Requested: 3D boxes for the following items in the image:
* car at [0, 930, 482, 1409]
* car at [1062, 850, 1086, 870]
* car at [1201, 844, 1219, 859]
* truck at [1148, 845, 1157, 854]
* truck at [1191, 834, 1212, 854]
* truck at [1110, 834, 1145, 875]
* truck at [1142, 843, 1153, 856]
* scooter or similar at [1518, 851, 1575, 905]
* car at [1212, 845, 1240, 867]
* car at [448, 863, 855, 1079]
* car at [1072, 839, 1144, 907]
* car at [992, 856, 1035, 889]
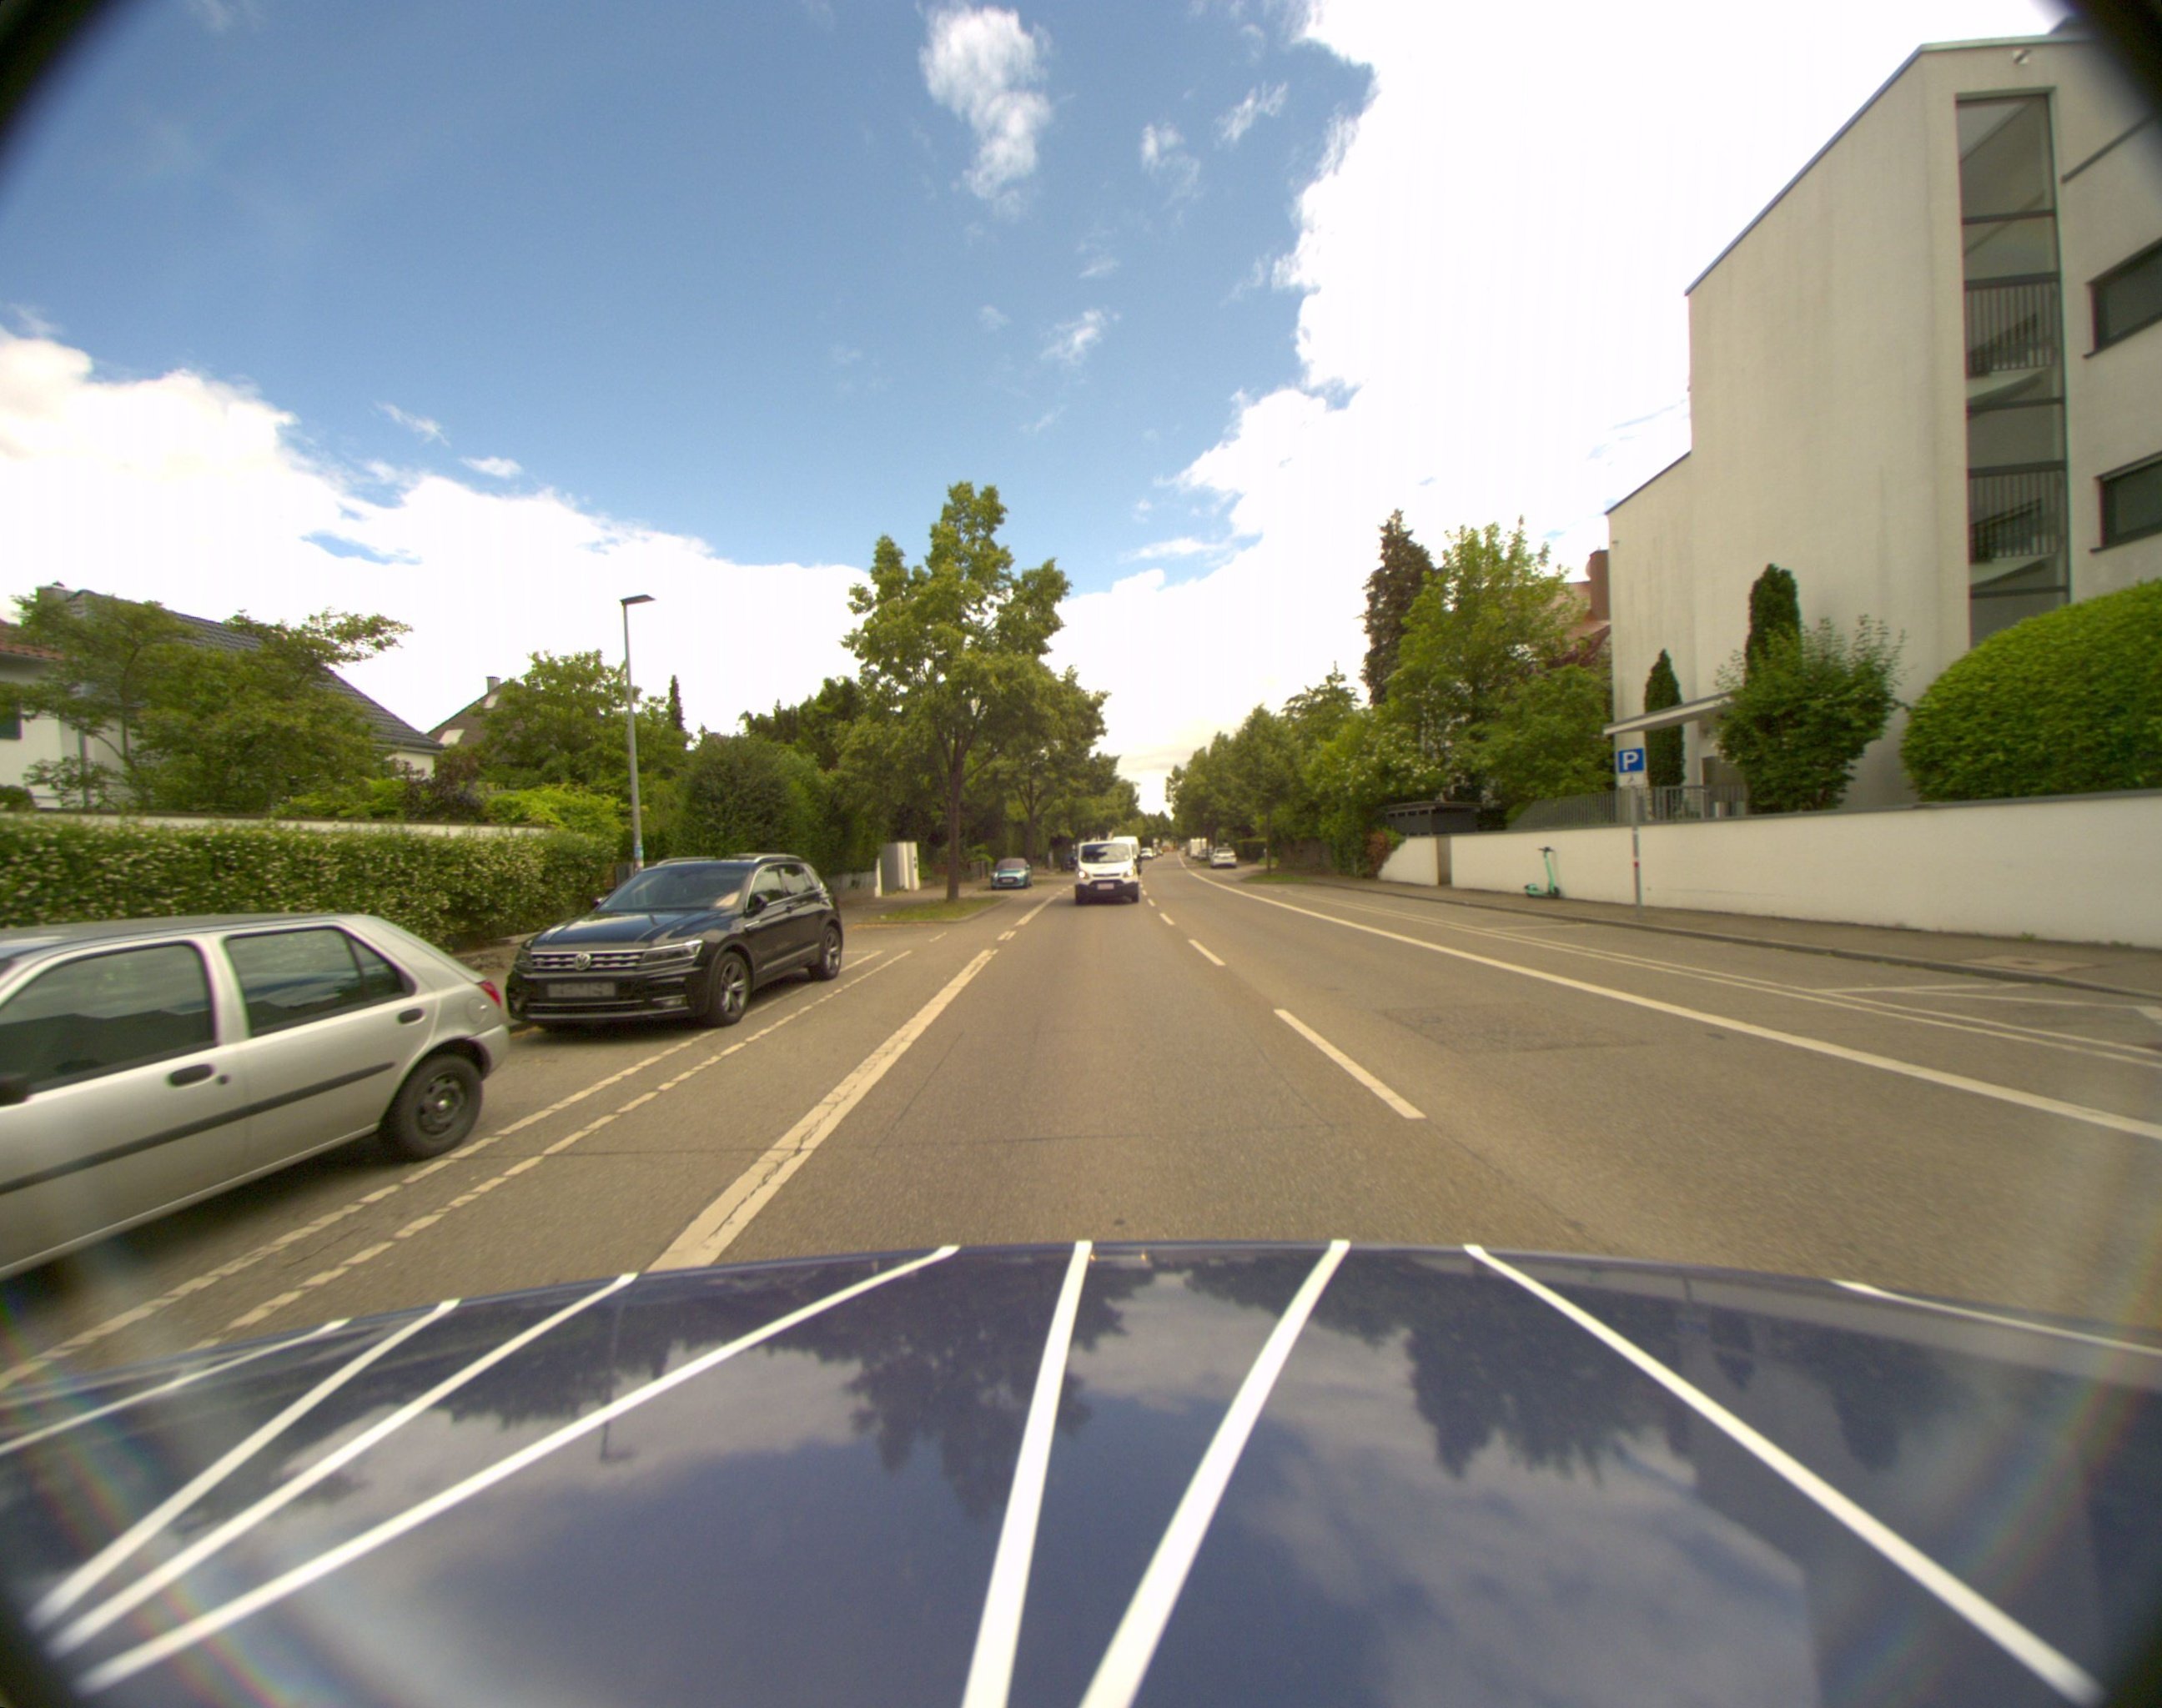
[{"bbox_3d":[-4.265,1.125,2.611,1.561,1.343,3.540,-1,0,0],"label":"car"},{"bbox_3d":[-0.580,0.510,65.503,1.776,1.588,3.815,-2,0,3],"label":"car"},{"bbox_3d":[14.854,-0.291,87.606,1.888,1.606,4.002,-2,0,8],"label":"car"},{"bbox_3d":[13.148,-0.874,139.143,1.618,1.649,4.001,-2,0,5],"label":"truck"},{"bbox_3d":[17.934,-1.450,113.494,2.640,2.757,6.259,-2,1,6],"label":"truck"},{"bbox_3d":[3.139,0.014,52.252,2.036,2.555,6.057,-2,0,0],"label":"truck"},{"bbox_3d":[10.072,-0.701,114.646,1.614,1.780,4.001,-2,0,5],"label":"truck"},{"bbox_3d":[10.680,0.523,17.478,0.434,1.159,1.327,-5,0,1],"label":"scooter or similar"},{"bbox_3d":[11.535,0.138,60.650,1.916,1.643,4.002,-2,0,8],"label":"car"},{"bbox_3d":[-4.169,0.983,8.440,1.770,1.626,4.548,-2,0,2],"label":"car"},{"bbox_3d":[0.964,0.556,25.227,2.075,1.956,5.558,-2,0,4],"label":"car"},{"bbox_3d":[-3.199,0.878,36.700,1.667,1.398,3.657,-2,1,1],"label":"car"}]
